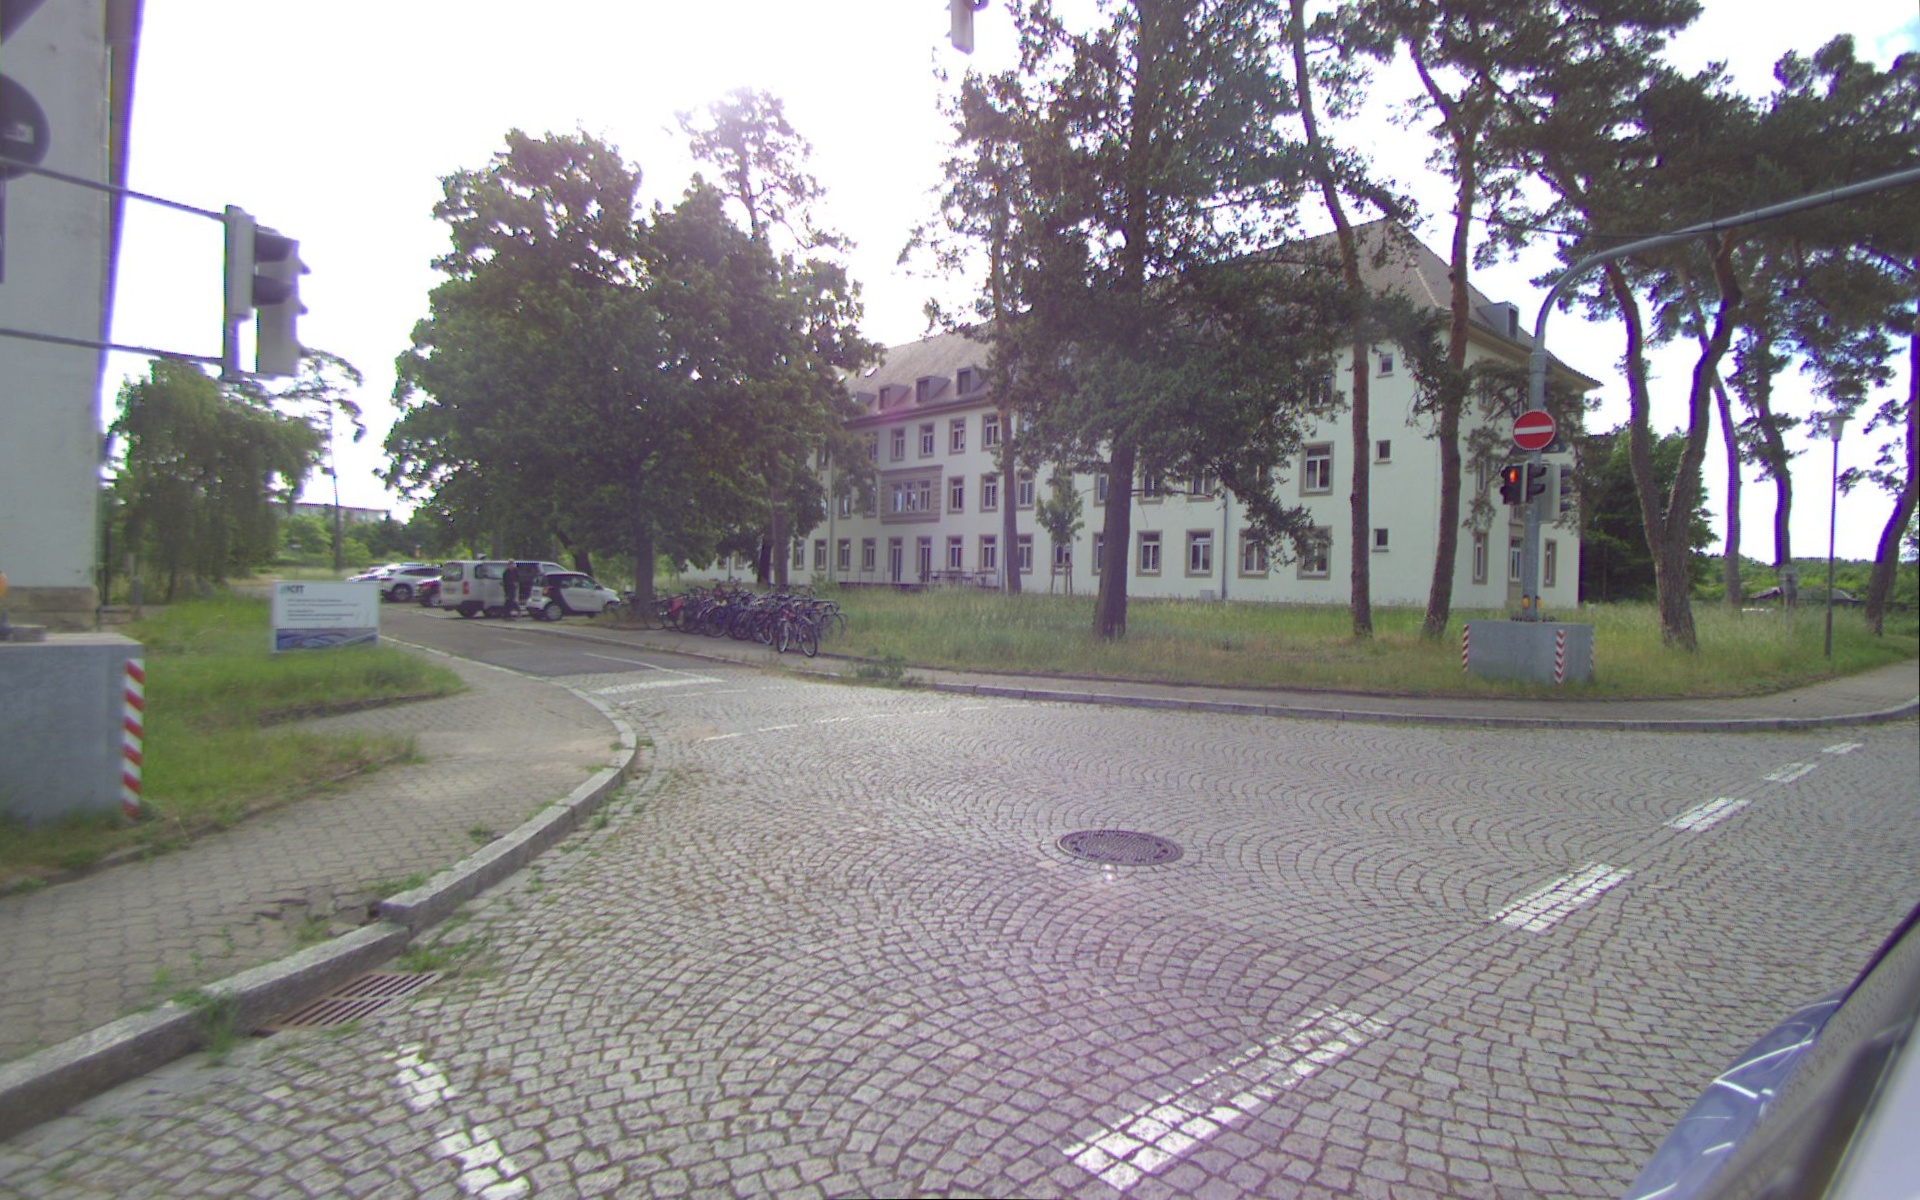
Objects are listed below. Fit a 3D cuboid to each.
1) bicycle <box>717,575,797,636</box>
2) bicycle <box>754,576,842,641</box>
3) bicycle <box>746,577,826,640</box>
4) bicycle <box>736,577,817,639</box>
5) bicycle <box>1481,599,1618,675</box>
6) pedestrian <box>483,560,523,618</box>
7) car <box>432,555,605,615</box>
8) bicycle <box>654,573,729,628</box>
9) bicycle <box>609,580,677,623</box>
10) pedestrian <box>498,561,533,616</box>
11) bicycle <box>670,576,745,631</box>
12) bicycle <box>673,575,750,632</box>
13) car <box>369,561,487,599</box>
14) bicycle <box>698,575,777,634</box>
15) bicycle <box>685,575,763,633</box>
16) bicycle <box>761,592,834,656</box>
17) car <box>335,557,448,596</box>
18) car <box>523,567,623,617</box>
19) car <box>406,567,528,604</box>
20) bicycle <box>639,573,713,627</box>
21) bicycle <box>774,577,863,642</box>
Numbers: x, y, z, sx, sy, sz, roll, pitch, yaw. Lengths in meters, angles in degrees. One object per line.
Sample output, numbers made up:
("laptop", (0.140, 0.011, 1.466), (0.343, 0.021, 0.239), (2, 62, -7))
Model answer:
("bicycle", (-4.654, 0.123, 23.279), (0.571, 1.348, 1.809), (2, 1, 43))
("bicycle", (-3.509, 0.177, 22.032), (1.802, 1.348, 0.573), (1, 1, -34))
("bicycle", (-3.828, 0.174, 22.413), (0.481, 1.348, 1.809), (2, 1, 43))
("bicycle", (-4.105, 0.171, 22.746), (0.571, 1.348, 1.809), (2, 1, 43))
("bicycle", (9.539, 0.569, 16.444), (0.563, 1.098, 1.834), (-2, 3, -43))
("pedestrian", (-14.277, -0.339, 31.625), (0.867, 1.759, 0.822), (1, 1, -2))
("car", (-14.943, -0.505, 34.443), (5.030, 1.908, 1.997), (0, 2, -42))
("bicycle", (-6.841, 0.019, 25.809), (0.571, 1.348, 1.809), (2, 1, 43))
("bicycle", (-9.059, 0.041, 28.986), (0.570, 1.201, 1.810), (2, 1, 42))
("pedestrian", (-14.494, -0.391, 32.969), (0.863, 1.759, 0.799), (1, 1, -37))
("bicycle", (-6.341, 0.081, 25.460), (0.571, 1.348, 1.809), (2, 1, 43))
("bicycle", (-6.086, 0.086, 24.868), (0.571, 1.348, 1.809), (2, 1, 43))
("car", (-23.947, -0.882, 45.626), (4.394, 1.612, 1.774), (0, 1, -45))
("bicycle", (-5.244, 0.101, 23.898), (0.571, 1.348, 1.809), (2, 1, 43))
("bicycle", (-5.648, 0.091, 24.291), (0.571, 1.348, 1.809), (2, 1, 43))
("bicycle", (-3.111, 0.428, 19.256), (0.562, 1.098, 1.837), (-2, 3, -38))
("car", (-26.642, -1.086, 47.464), (4.312, 1.739, 1.997), (0, 2, -42))
("car", (-12.467, -0.268, 32.629), (2.647, 1.527, 1.474), (0, 2, -42))
("car", (-20.250, -0.572, 41.678), (4.182, 1.433, 1.690), (0, 1, -45))
("bicycle", (-7.359, -0.009, 26.296), (0.571, 1.348, 1.809), (2, 1, 43))
("bicycle", (-3.013, 0.196, 21.637), (1.802, 1.348, 0.573), (1, 1, -34))
